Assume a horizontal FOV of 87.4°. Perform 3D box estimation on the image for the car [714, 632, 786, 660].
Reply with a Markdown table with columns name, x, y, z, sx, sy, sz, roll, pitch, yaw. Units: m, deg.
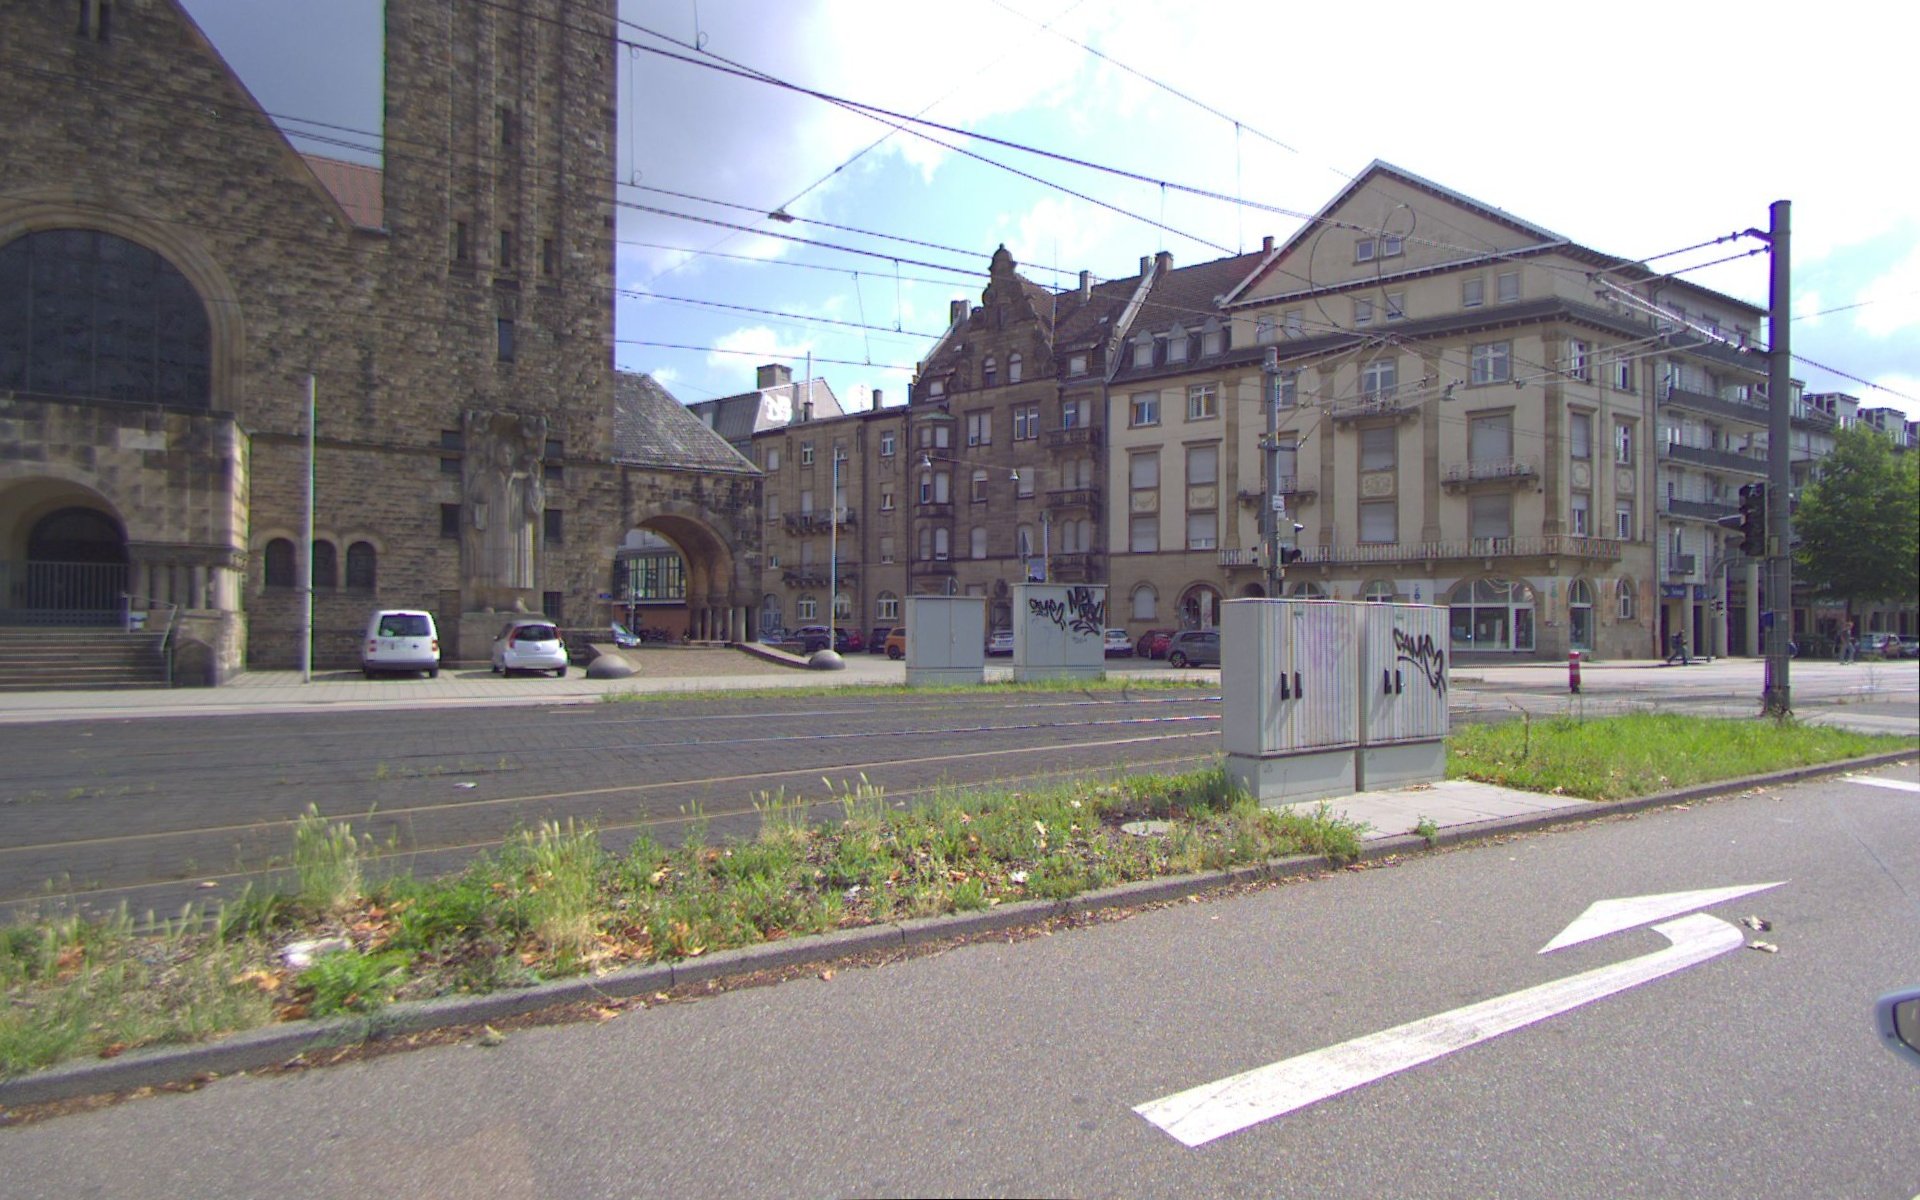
| name | x | y | z | sx | sy | sz | roll | pitch | yaw |
| --- | --- | --- | --- | --- | --- | --- | --- | --- | --- |
| car | -11.507 | 2.500 | 54.901 | 3.933 | 1.449 | 1.532 | -1 | -2 | 34 |

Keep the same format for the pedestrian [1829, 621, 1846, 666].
| name | x | y | z | sx | sy | sz | roll | pitch | yaw |
| --- | --- | --- | --- | --- | --- | --- | --- | --- | --- |
| pedestrian | 40.235 | 1.970 | 46.044 | 0.415 | 2.040 | 0.474 | 1 | -2 | -35 |

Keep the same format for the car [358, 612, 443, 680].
| name | x | y | z | sx | sy | sz | roll | pitch | yaw |
| --- | --- | --- | --- | --- | --- | --- | --- | --- | --- |
| car | -15.775 | 1.264 | 28.247 | 1.874 | 1.771 | 3.849 | 1 | -2 | -32 |

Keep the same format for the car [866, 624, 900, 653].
| name | x | y | z | sx | sy | sz | roll | pitch | yaw |
| --- | --- | --- | --- | --- | --- | --- | --- | --- | --- |
| car | -4.732 | 2.373 | 62.235 | 1.753 | 1.750 | 4.001 | 0 | -2 | 1 |

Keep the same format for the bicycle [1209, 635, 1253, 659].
| name | x | y | z | sx | sy | sz | roll | pitch | yaw |
| --- | --- | --- | --- | --- | --- | --- | --- | --- | --- |
| bicycle | 12.902 | 2.227 | 47.816 | 1.939 | 1.129 | 0.487 | -1 | -1 | 24 |

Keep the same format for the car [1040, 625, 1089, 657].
| name | x | y | z | sx | sy | sz | roll | pitch | yaw |
| --- | --- | --- | --- | --- | --- | --- | --- | --- | --- |
| car | 5.645 | 2.191 | 54.674 | 1.962 | 1.695 | 3.998 | 0 | -2 | -5 |

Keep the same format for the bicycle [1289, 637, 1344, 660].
| name | x | y | z | sx | sy | sz | roll | pitch | yaw |
| --- | --- | --- | --- | --- | --- | --- | --- | --- | --- |
| bicycle | 17.023 | 2.286 | 47.992 | 2.525 | 1.067 | 0.803 | 1 | -1 | -18 |

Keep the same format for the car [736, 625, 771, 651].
| name | x | y | z | sx | sy | sz | roll | pitch | yaw |
| --- | --- | --- | --- | --- | --- | --- | --- | --- | --- |
| car | -14.071 | 2.574 | 68.695 | 1.707 | 1.693 | 4.038 | 0 | -2 | -2 |

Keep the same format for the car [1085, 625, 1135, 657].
| name | x | y | z | sx | sy | sz | roll | pitch | yaw |
| --- | --- | --- | --- | --- | --- | --- | --- | --- | --- |
| car | 7.932 | 2.168 | 53.473 | 1.768 | 1.661 | 3.998 | 0 | -2 | -5 |

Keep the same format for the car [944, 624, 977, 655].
| name | x | y | z | sx | sy | sz | roll | pitch | yaw |
| --- | --- | --- | --- | --- | --- | --- | --- | --- | --- |
| car | 0.040 | 2.280 | 58.765 | 1.850 | 1.782 | 4.001 | 0 | -2 | 1 |

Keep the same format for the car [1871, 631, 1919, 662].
| name | x | y | z | sx | sy | sz | roll | pitch | yaw |
| --- | --- | --- | --- | --- | --- | --- | --- | --- | --- |
| car | 62.877 | 3.088 | 67.057 | 3.953 | 2.040 | 1.984 | 1 | -2 | -30 |

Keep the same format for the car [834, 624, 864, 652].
| name | x | y | z | sx | sy | sz | roll | pitch | yaw |
| --- | --- | --- | --- | --- | --- | --- | --- | --- | --- |
| car | -7.038 | 2.406 | 63.801 | 1.617 | 1.718 | 3.859 | 0 | -2 | -2 |

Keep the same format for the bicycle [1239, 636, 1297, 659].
| name | x | y | z | sx | sy | sz | roll | pitch | yaw |
| --- | --- | --- | --- | --- | --- | --- | --- | --- | --- |
| bicycle | 14.597 | 2.253 | 47.642 | 2.522 | 1.067 | 0.680 | -1 | -2 | 33 |

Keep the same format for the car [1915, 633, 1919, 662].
| name | x | y | z | sx | sy | sz | roll | pitch | yaw |
| --- | --- | --- | --- | --- | --- | --- | --- | --- | --- |
| car | 70.028 | 3.374 | 71.486 | 3.953 | 2.040 | 1.984 | 1 | -2 | -30 |

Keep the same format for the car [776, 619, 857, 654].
| name | x | y | z | sx | sy | sz | roll | pitch | yaw |
| --- | --- | --- | --- | --- | --- | --- | --- | --- | --- |
| car | -8.519 | 2.147 | 59.467 | 4.727 | 2.040 | 1.994 | -1 | -2 | 35 |

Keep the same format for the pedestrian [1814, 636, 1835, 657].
| name | x | y | z | sx | sy | sz | roll | pitch | yaw |
| --- | --- | --- | --- | --- | --- | --- | --- | --- | --- |
| pedestrian | 50.883 | 2.751 | 59.117 | 0.695 | 1.227 | 0.750 | 1 | -2 | -30 |

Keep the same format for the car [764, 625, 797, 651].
| name | x | y | z | sx | sy | sz | roll | pitch | yaw |
| --- | --- | --- | --- | --- | --- | --- | --- | --- | --- |
| car | -12.091 | 2.560 | 67.757 | 1.653 | 1.697 | 4.000 | 0 | -2 | -2 |

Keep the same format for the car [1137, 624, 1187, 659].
| name | x | y | z | sx | sy | sz | roll | pitch | yaw |
| --- | --- | --- | --- | --- | --- | --- | --- | --- | --- |
| car | 10.293 | 2.109 | 51.414 | 1.960 | 1.696 | 4.002 | 0 | -2 | 3 |

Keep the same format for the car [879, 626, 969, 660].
| name | x | y | z | sx | sy | sz | roll | pitch | yaw |
| --- | --- | --- | --- | --- | --- | --- | --- | --- | --- |
| car | -1.752 | 2.013 | 47.847 | 4.258 | 1.567 | 1.625 | -1 | -2 | 37 |

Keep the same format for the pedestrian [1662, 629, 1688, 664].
| name | x | y | z | sx | sy | sz | roll | pitch | yaw |
| --- | --- | --- | --- | --- | --- | --- | --- | --- | --- |
| pedestrian | 33.205 | 2.158 | 46.653 | 0.846 | 1.617 | 0.693 | -1 | -1 | 27 |

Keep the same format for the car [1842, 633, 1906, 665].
| name | x | y | z | sx | sy | sz | roll | pitch | yaw |
| --- | --- | --- | --- | --- | --- | --- | --- | --- | --- |
| car | 58.877 | 3.127 | 64.704 | 3.953 | 2.040 | 1.984 | 1 | -2 | -30 |

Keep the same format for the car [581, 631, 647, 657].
| name | x | y | z | sx | sy | sz | roll | pitch | yaw |
| --- | --- | --- | --- | --- | --- | --- | --- | --- | --- |
| car | -19.903 | 2.487 | 57.798 | 3.719 | 1.449 | 1.709 | -1 | -2 | 34 |

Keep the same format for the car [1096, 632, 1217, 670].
| name | x | y | z | sx | sy | sz | roll | pitch | yaw |
| --- | --- | --- | --- | --- | --- | --- | --- | --- | --- |
| car | 7.839 | 2.007 | 40.336 | 4.498 | 1.455 | 1.700 | -1 | -2 | 37 |

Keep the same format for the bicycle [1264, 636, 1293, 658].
| name | x | y | z | sx | sy | sz | roll | pitch | yaw |
| --- | --- | --- | --- | --- | --- | --- | --- | --- | --- |
| bicycle | 15.553 | 2.283 | 49.080 | 0.792 | 1.067 | 2.561 | -1 | -2 | 31 |

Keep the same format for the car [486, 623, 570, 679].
| name | x | y | z | sx | sy | sz | roll | pitch | yaw |
| --- | --- | --- | --- | --- | --- | --- | --- | --- | --- |
| car | -12.611 | 1.449 | 29.225 | 1.833 | 1.522 | 3.249 | 1 | -2 | -31 |

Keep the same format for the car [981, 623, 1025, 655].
| name | x | y | z | sx | sy | sz | roll | pitch | yaw |
| --- | --- | --- | --- | --- | --- | --- | --- | --- | --- |
| car | 2.411 | 2.197 | 57.151 | 1.962 | 1.758 | 3.998 | 0 | -2 | -5 |
